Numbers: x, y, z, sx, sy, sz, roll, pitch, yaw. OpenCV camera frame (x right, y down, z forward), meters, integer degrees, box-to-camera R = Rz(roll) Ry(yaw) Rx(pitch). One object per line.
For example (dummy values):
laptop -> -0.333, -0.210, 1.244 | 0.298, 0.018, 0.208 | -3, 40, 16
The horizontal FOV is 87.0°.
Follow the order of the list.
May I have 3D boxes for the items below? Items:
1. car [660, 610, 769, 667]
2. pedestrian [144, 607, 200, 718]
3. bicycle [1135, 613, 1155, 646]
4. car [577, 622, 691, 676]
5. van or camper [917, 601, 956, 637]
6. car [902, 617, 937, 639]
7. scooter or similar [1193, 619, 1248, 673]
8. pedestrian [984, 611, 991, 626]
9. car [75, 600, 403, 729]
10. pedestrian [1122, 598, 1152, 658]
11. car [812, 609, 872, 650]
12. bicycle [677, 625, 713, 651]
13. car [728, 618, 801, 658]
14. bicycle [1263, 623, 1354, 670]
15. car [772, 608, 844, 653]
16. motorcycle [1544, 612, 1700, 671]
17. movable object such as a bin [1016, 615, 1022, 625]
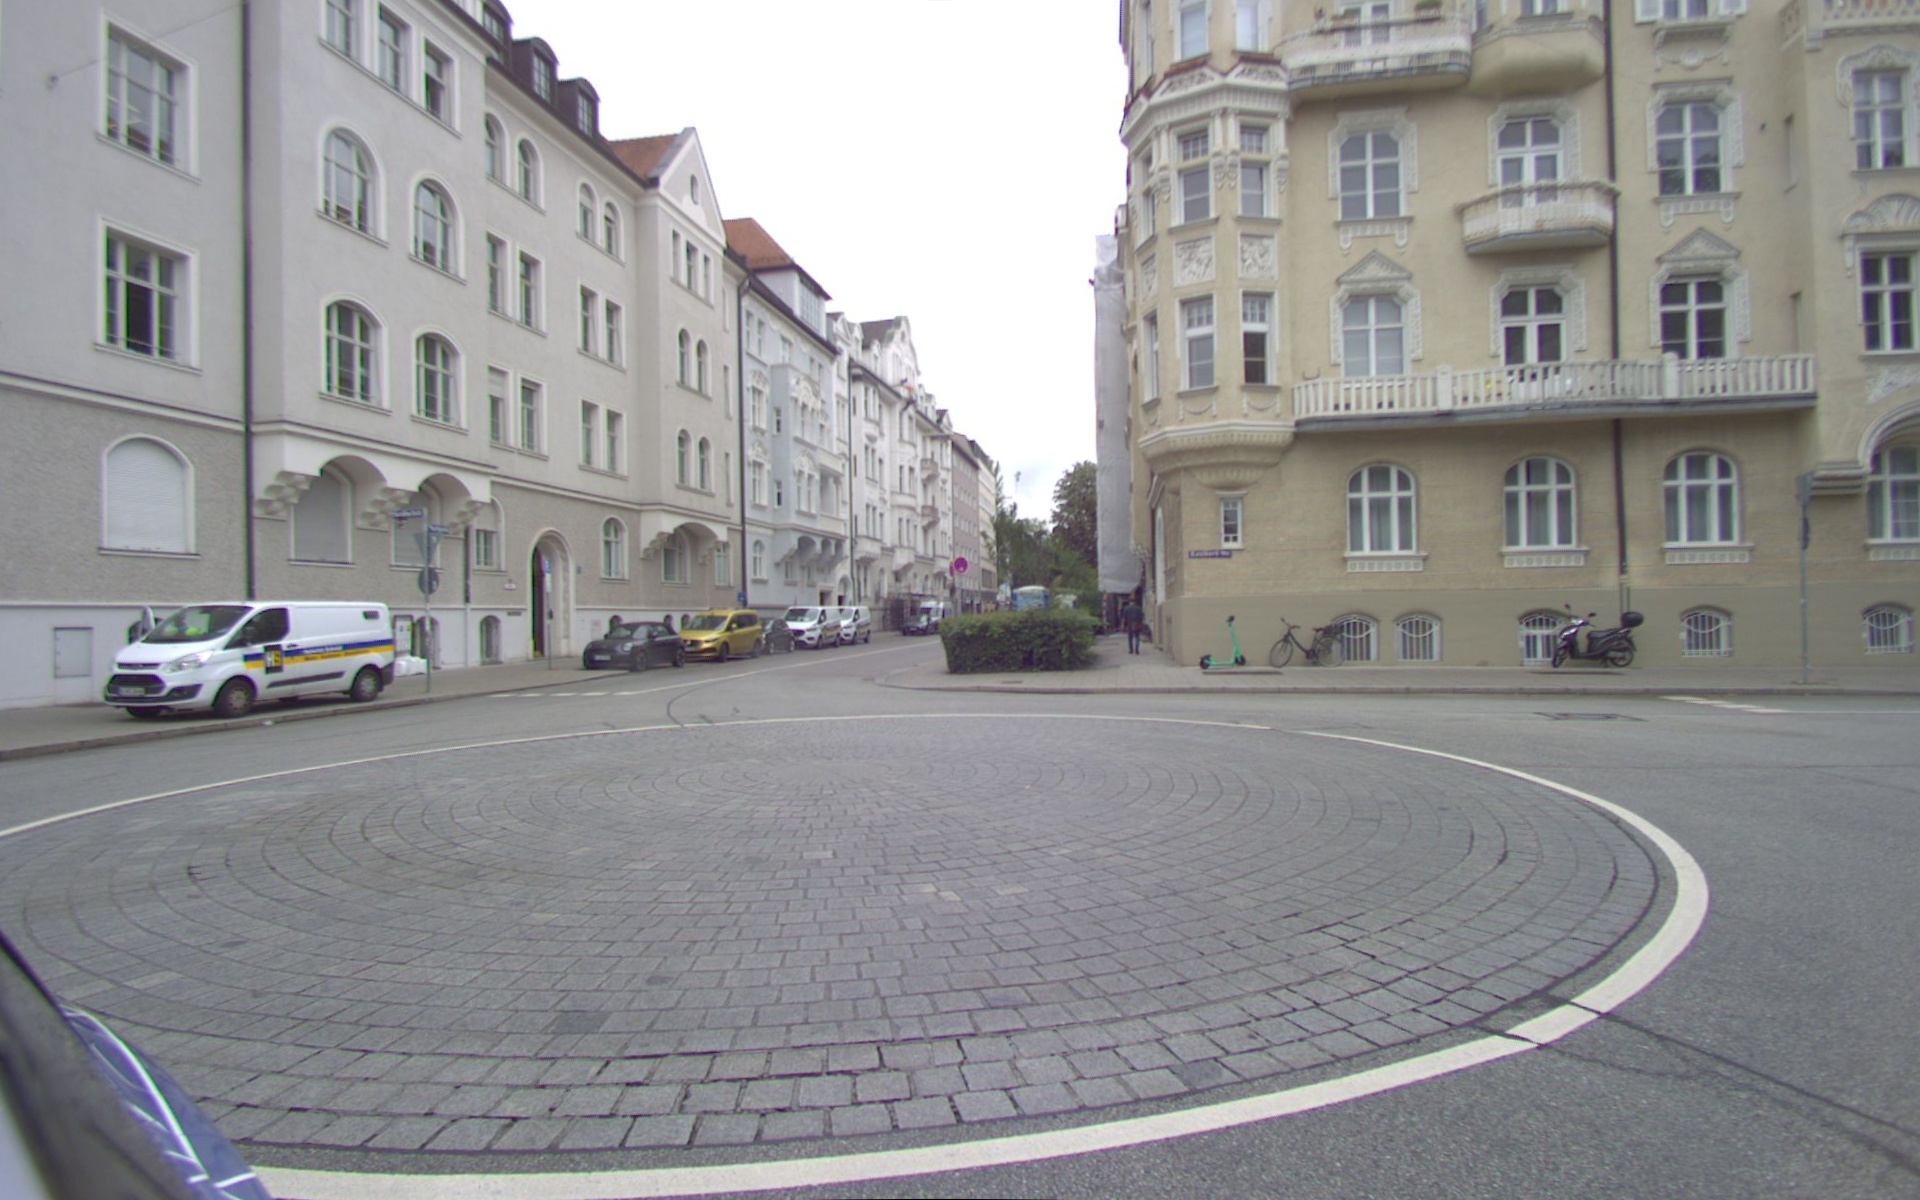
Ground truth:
car -> -8.652, 1.331, 36.114 | 1.838, 1.867, 4.800 | -1, -1, 13
pedestrian -> -13.898, 1.088, 17.855 | 0.592, 1.902, 0.668 | -2, -2, 40
bicycle -> 7.425, 1.168, 40.624 | 0.739, 1.285, 1.697 | -1, -1, 11
car -> -9.814, 1.444, 30.755 | 1.651, 1.468, 3.882 | -1, -1, 11
van or camper -> -1.765, 1.440, 77.467 | 1.938, 2.657, 5.441 | -1, -1, 10
car -> -2.803, 1.955, 71.480 | 1.739, 1.445, 4.076 | -1, -1, 9
scooter or similar -> 5.922, 1.027, 22.973 | 1.335, 1.175, 0.530 | 0, -1, -40
pedestrian -> 3.257, 2.215, 119.463 | 0.697, 1.746, 0.744 | -1, -1, 10
car -> -12.581, 1.028, 18.180 | 1.900, 1.977, 4.913 | 0, -1, 9
pedestrian -> 5.563, 0.877, 31.828 | 0.881, 1.824, 1.052 | -1, -1, 12
car -> -6.121, 1.498, 53.006 | 1.943, 2.029, 4.980 | -1, -1, 8
bicycle -> -11.610, 1.649, 44.361 | 0.689, 1.102, 2.029 | 1, -1, 11
car -> -7.895, 1.522, 41.136 | 1.620, 1.495, 3.770 | -1, -1, 11
bicycle -> 7.870, 1.041, 22.932 | 1.862, 1.030, 0.558 | -1, -1, 10
car -> -6.978, 1.362, 47.010 | 1.943, 1.952, 4.980 | -1, -1, 8
motorcycle -> 14.040, 0.873, 21.545 | 2.534, 1.189, 1.004 | -1, -1, 9
movable object such as a bin -> 8.037, 2.720, 137.890 | 0.866, 1.260, 0.797 | -1, -1, 5
